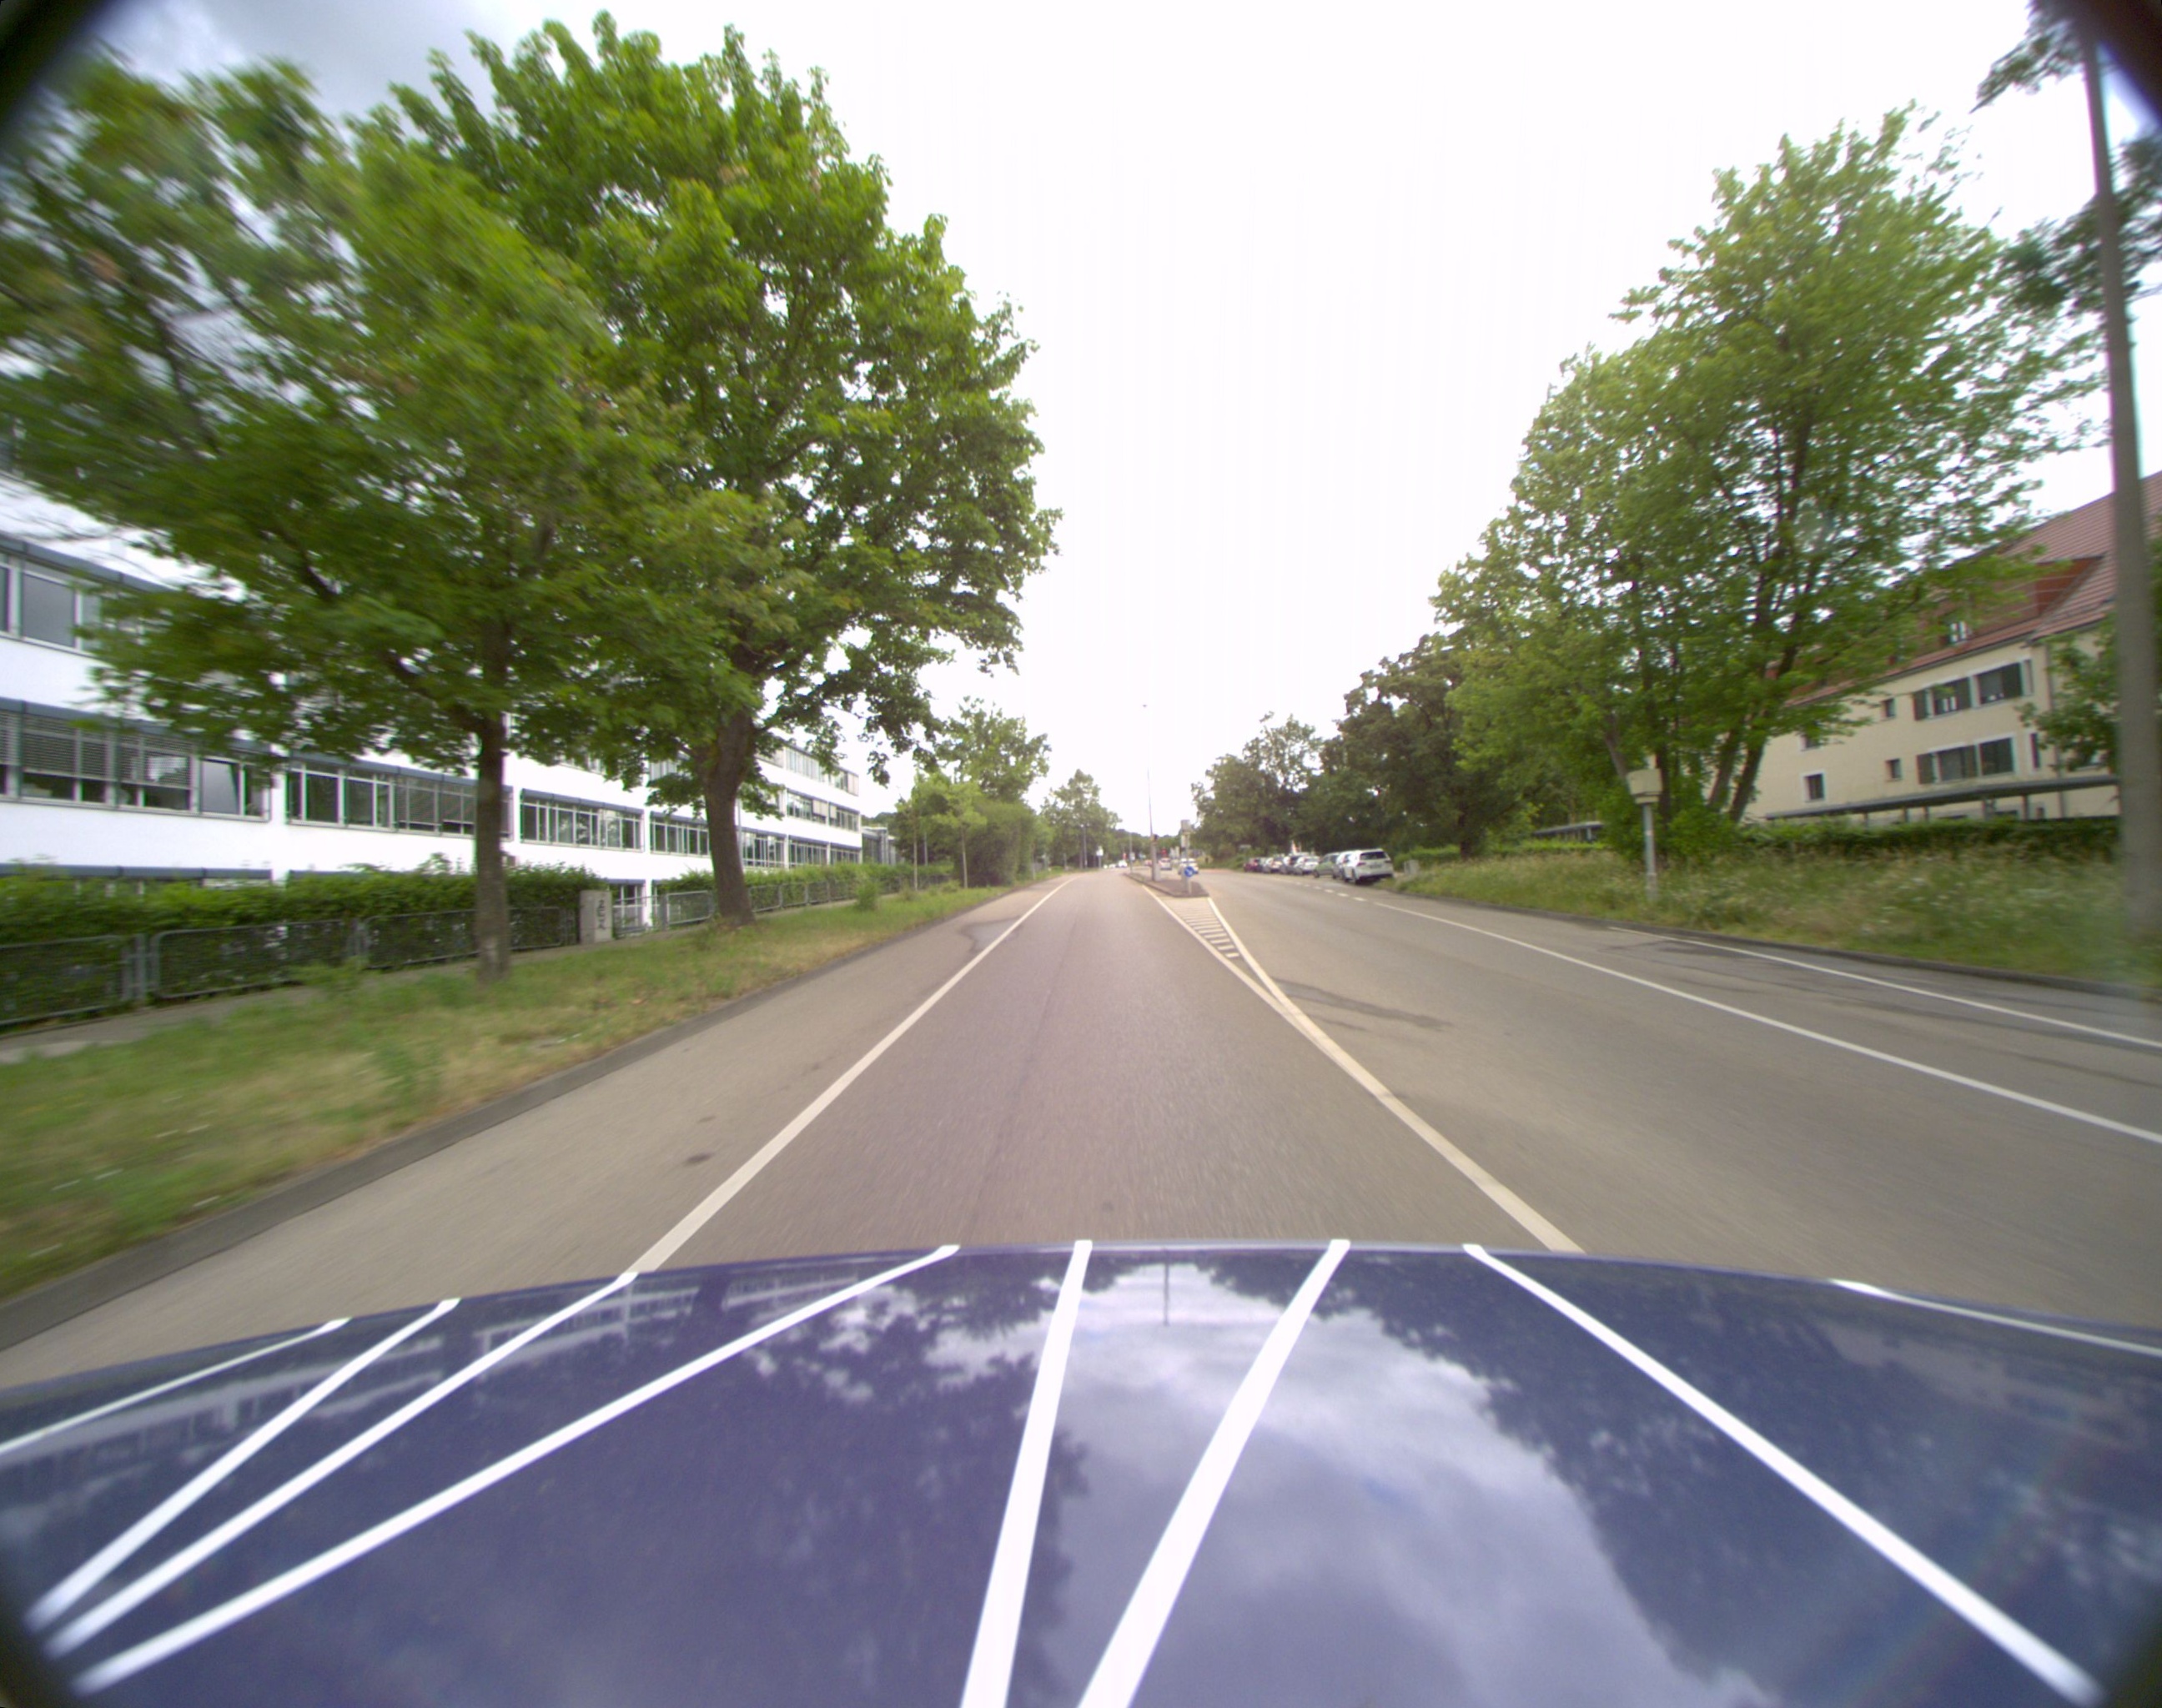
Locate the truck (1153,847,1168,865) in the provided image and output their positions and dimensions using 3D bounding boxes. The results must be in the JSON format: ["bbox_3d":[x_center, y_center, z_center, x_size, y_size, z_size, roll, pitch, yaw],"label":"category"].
[{"bbox_3d":[15.806,0.333,150.646,2.830,3.460,7.827,-2,0,6],"label":"truck"}]

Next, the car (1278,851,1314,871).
[{"bbox_3d":[17.731,0.610,62.753,1.880,1.498,4.001,-3,-1,1],"label":"car"}]

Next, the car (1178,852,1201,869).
[{"bbox_3d":[10.974,0.600,76.884,1.879,1.561,4.339,-3,1,4],"label":"car"}]

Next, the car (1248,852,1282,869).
[{"bbox_3d":[17.967,0.664,74.231,1.881,1.498,3.998,-3,0,-7],"label":"car"}]

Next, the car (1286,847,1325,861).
[{"bbox_3d":[34.520,-0.026,116.918,5.297,2.002,2.012,0,1,1],"label":"car"}]

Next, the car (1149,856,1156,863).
[{"bbox_3d":[18.543,1.441,196.998,1.591,1.608,3.585,-2,0,6],"label":"car"}]

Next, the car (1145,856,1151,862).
[{"bbox_3d":[19.100,1.413,215.882,1.591,1.608,3.585,-2,0,6],"label":"car"}]

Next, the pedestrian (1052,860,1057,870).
[{"bbox_3d":[-4.448,1.826,127.649,0.734,1.717,0.502,-1,1,-1],"label":"pedestrian"}]

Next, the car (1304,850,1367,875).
[{"bbox_3d":[16.344,0.539,49.018,1.882,1.498,3.995,-2,0,-17],"label":"car"}]

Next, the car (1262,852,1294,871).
[{"bbox_3d":[17.732,0.665,68.463,1.880,1.498,4.057,-3,0,1],"label":"car"}]

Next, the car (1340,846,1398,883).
[{"bbox_3d":[14.396,0.488,38.201,1.878,1.657,4.393,-3,0,9],"label":"car"}]

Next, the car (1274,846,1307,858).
[{"bbox_3d":[35.973,-0.270,130.409,5.297,2.002,1.739,0,1,1],"label":"car"}]

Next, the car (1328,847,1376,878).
[{"bbox_3d":[15.632,0.478,44.074,1.878,1.587,4.002,-3,1,9],"label":"car"}]

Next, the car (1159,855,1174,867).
[{"bbox_3d":[13.426,1.105,119.464,1.832,1.759,4.407,-3,0,1],"label":"car"}]

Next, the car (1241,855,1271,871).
[{"bbox_3d":[18.078,0.909,78.498,1.880,1.498,3.887,-3,0,-5],"label":"car"}]

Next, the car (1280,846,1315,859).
[{"bbox_3d":[35.553,-0.215,124.782,5.296,2.002,1.740,0,1,2],"label":"car"}]

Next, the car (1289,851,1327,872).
[{"bbox_3d":[17.300,0.591,57.967,1.879,1.498,4.001,-2,0,4],"label":"car"}]
